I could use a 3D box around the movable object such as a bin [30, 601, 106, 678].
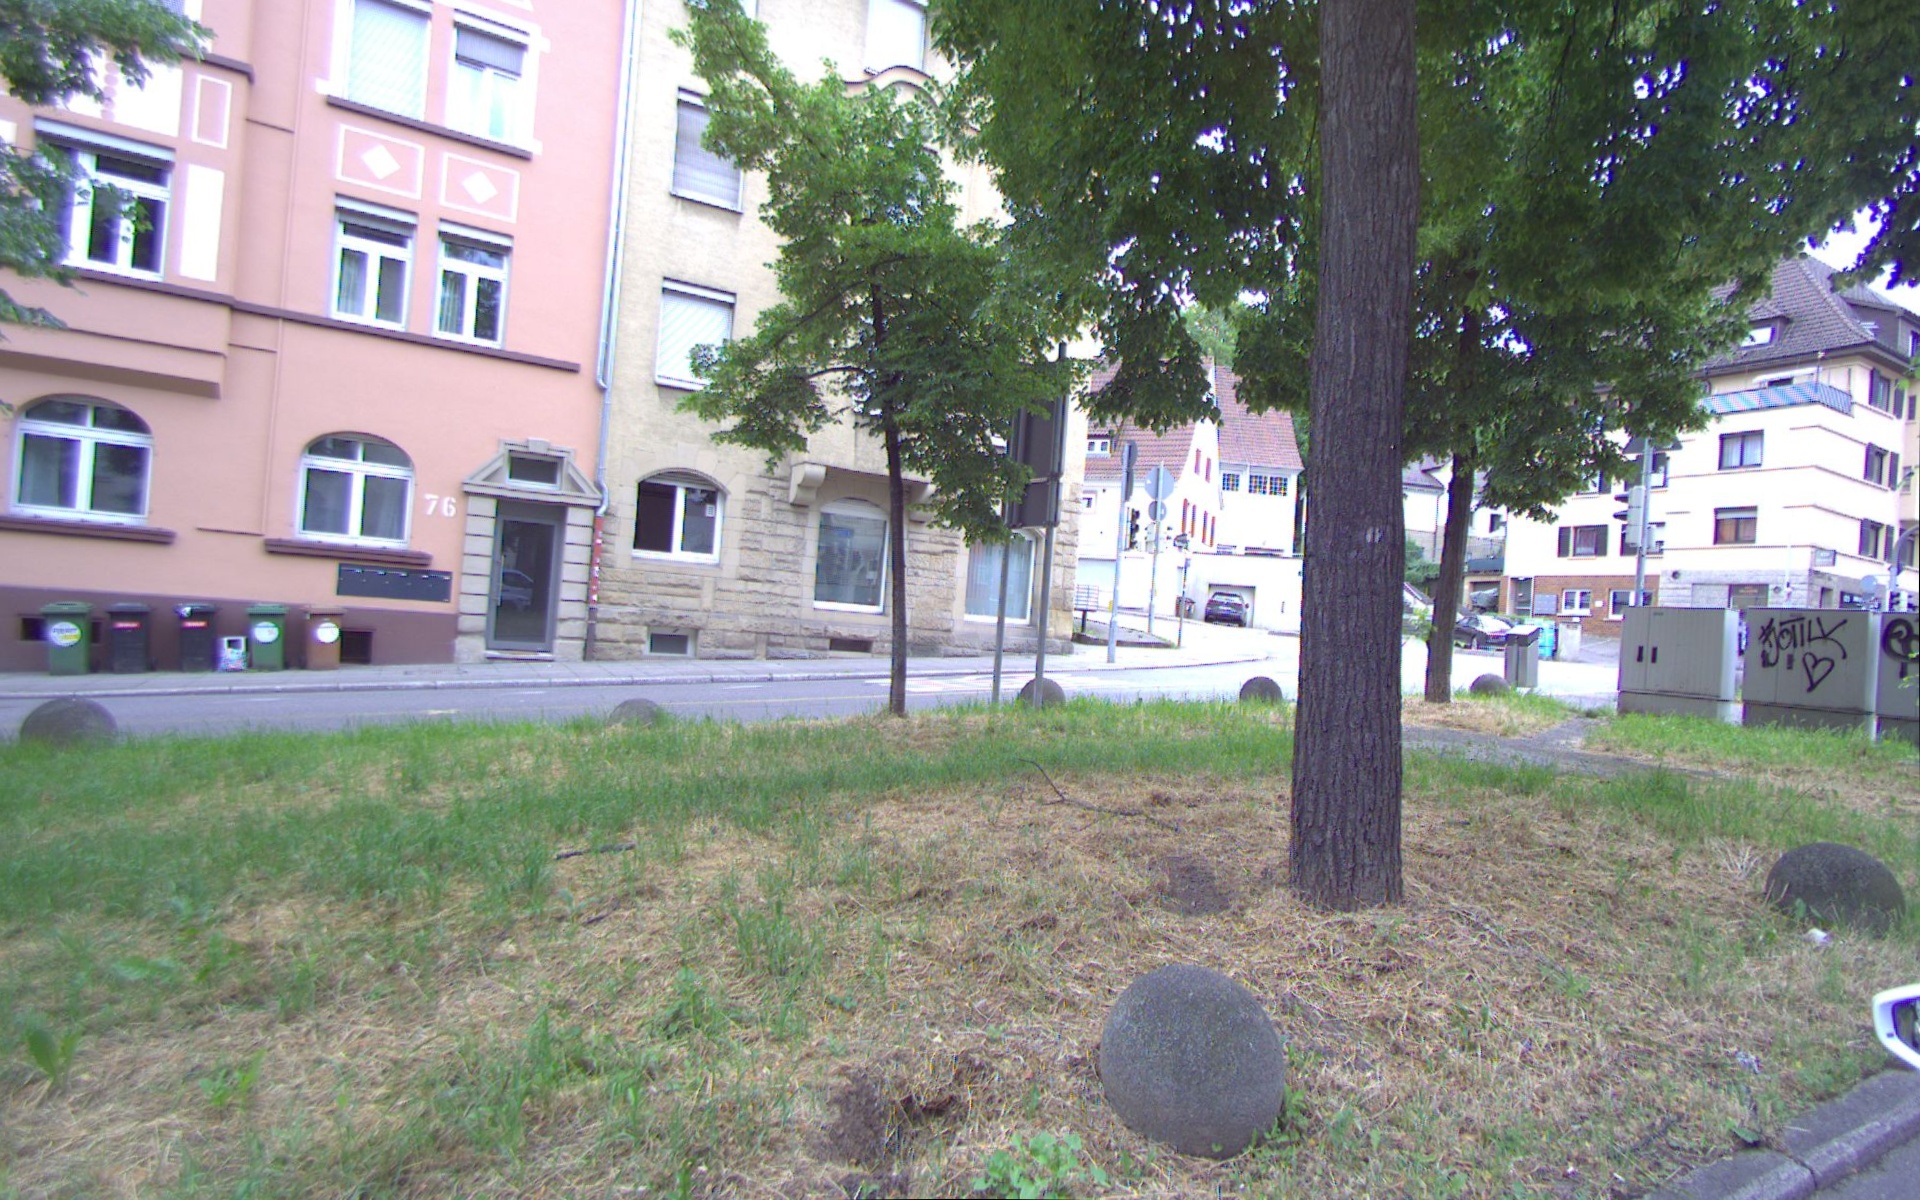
[{"bbox_3d":[-11.658,0.508,13.144,0.611,0.961,0.613,2,0,-31],"label":"movable object such as a bin"}]

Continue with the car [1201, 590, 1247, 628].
[{"bbox_3d":[11.724,0.371,44.807,1.638,1.424,3.058,7,3,11],"label":"car"}]

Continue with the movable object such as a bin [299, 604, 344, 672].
[{"bbox_3d":[-9.269,0.541,14.577,0.510,0.934,0.752,2,0,-34],"label":"movable object such as a bin"}]

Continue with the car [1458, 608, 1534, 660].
[{"bbox_3d":[21.876,1.333,41.141,1.832,1.619,3.519,2,6,13],"label":"car"}]

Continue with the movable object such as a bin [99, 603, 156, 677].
[{"bbox_3d":[-11.162,0.525,13.477,0.527,0.958,0.576,2,0,-36],"label":"movable object such as a bin"}]

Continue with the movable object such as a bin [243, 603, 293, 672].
[{"bbox_3d":[-9.802,0.523,14.248,0.554,0.934,0.649,2,0,-34],"label":"movable object such as a bin"}]
